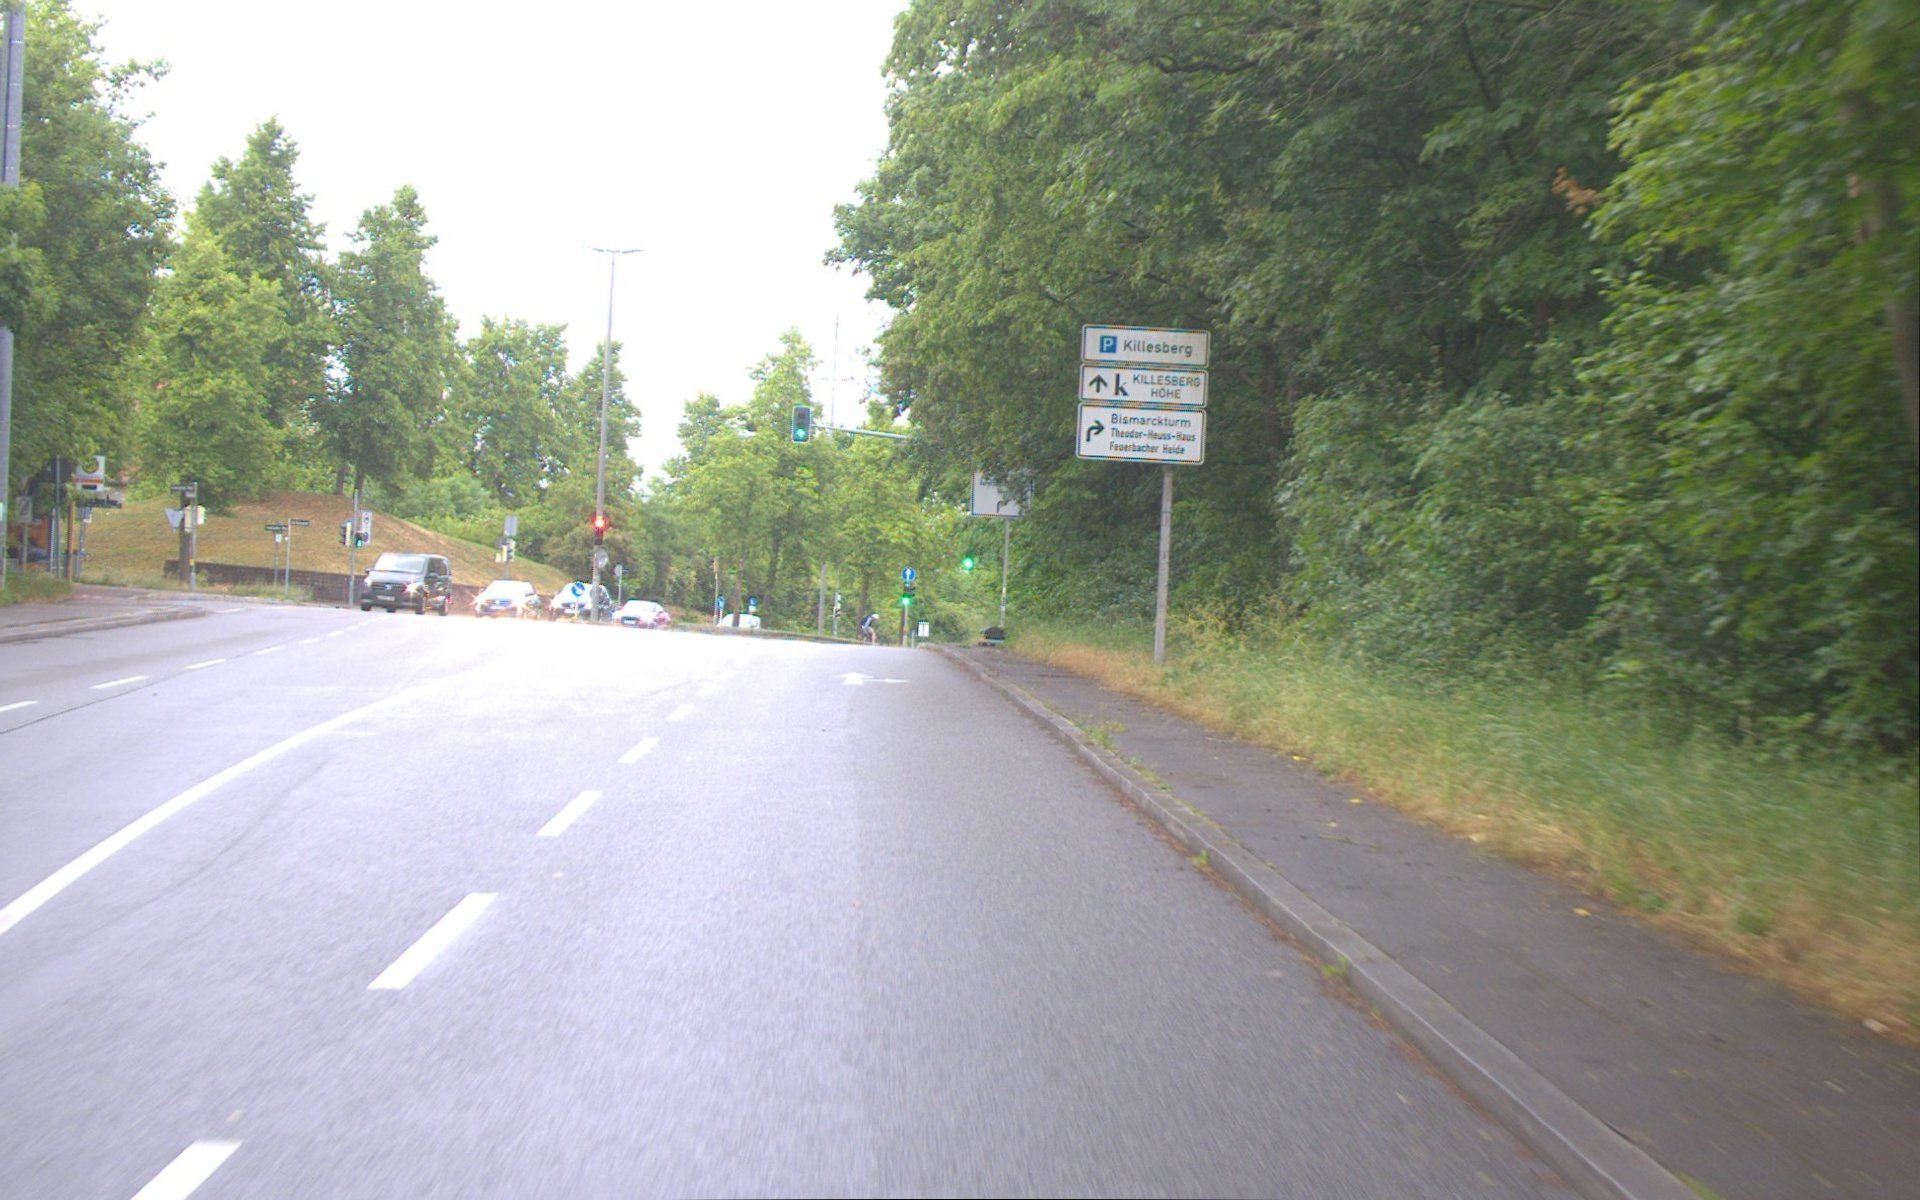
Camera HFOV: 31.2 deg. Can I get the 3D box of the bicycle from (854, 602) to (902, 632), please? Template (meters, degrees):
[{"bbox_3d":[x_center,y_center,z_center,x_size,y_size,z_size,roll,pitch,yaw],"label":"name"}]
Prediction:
[{"bbox_3d":[-3.476,0.718,145.989,2.134,1.139,0.554,6,-2,-44],"label":"bicycle"}]

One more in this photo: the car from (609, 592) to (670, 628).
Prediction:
[{"bbox_3d":[-13.313,0.404,142.964,1.875,1.369,4.384,3,0,3],"label":"car"}]

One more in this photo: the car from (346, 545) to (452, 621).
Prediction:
[{"bbox_3d":[-17.096,-0.498,105.025,2.103,1.939,5.159,7,-1,1],"label":"car"}]

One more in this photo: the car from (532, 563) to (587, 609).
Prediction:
[{"bbox_3d":[-13.507,-0.481,115.922,1.700,1.422,4.079,3,0,-7],"label":"car"}]

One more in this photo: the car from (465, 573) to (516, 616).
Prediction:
[{"bbox_3d":[-16.307,-0.201,119.559,1.631,1.389,4.001,2,0,-6],"label":"car"}]

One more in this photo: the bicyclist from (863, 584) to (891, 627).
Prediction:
[{"bbox_3d":[-3.514,0.246,145.953,0.799,1.746,0.725,7,-6,-44],"label":"bicyclist"}]
